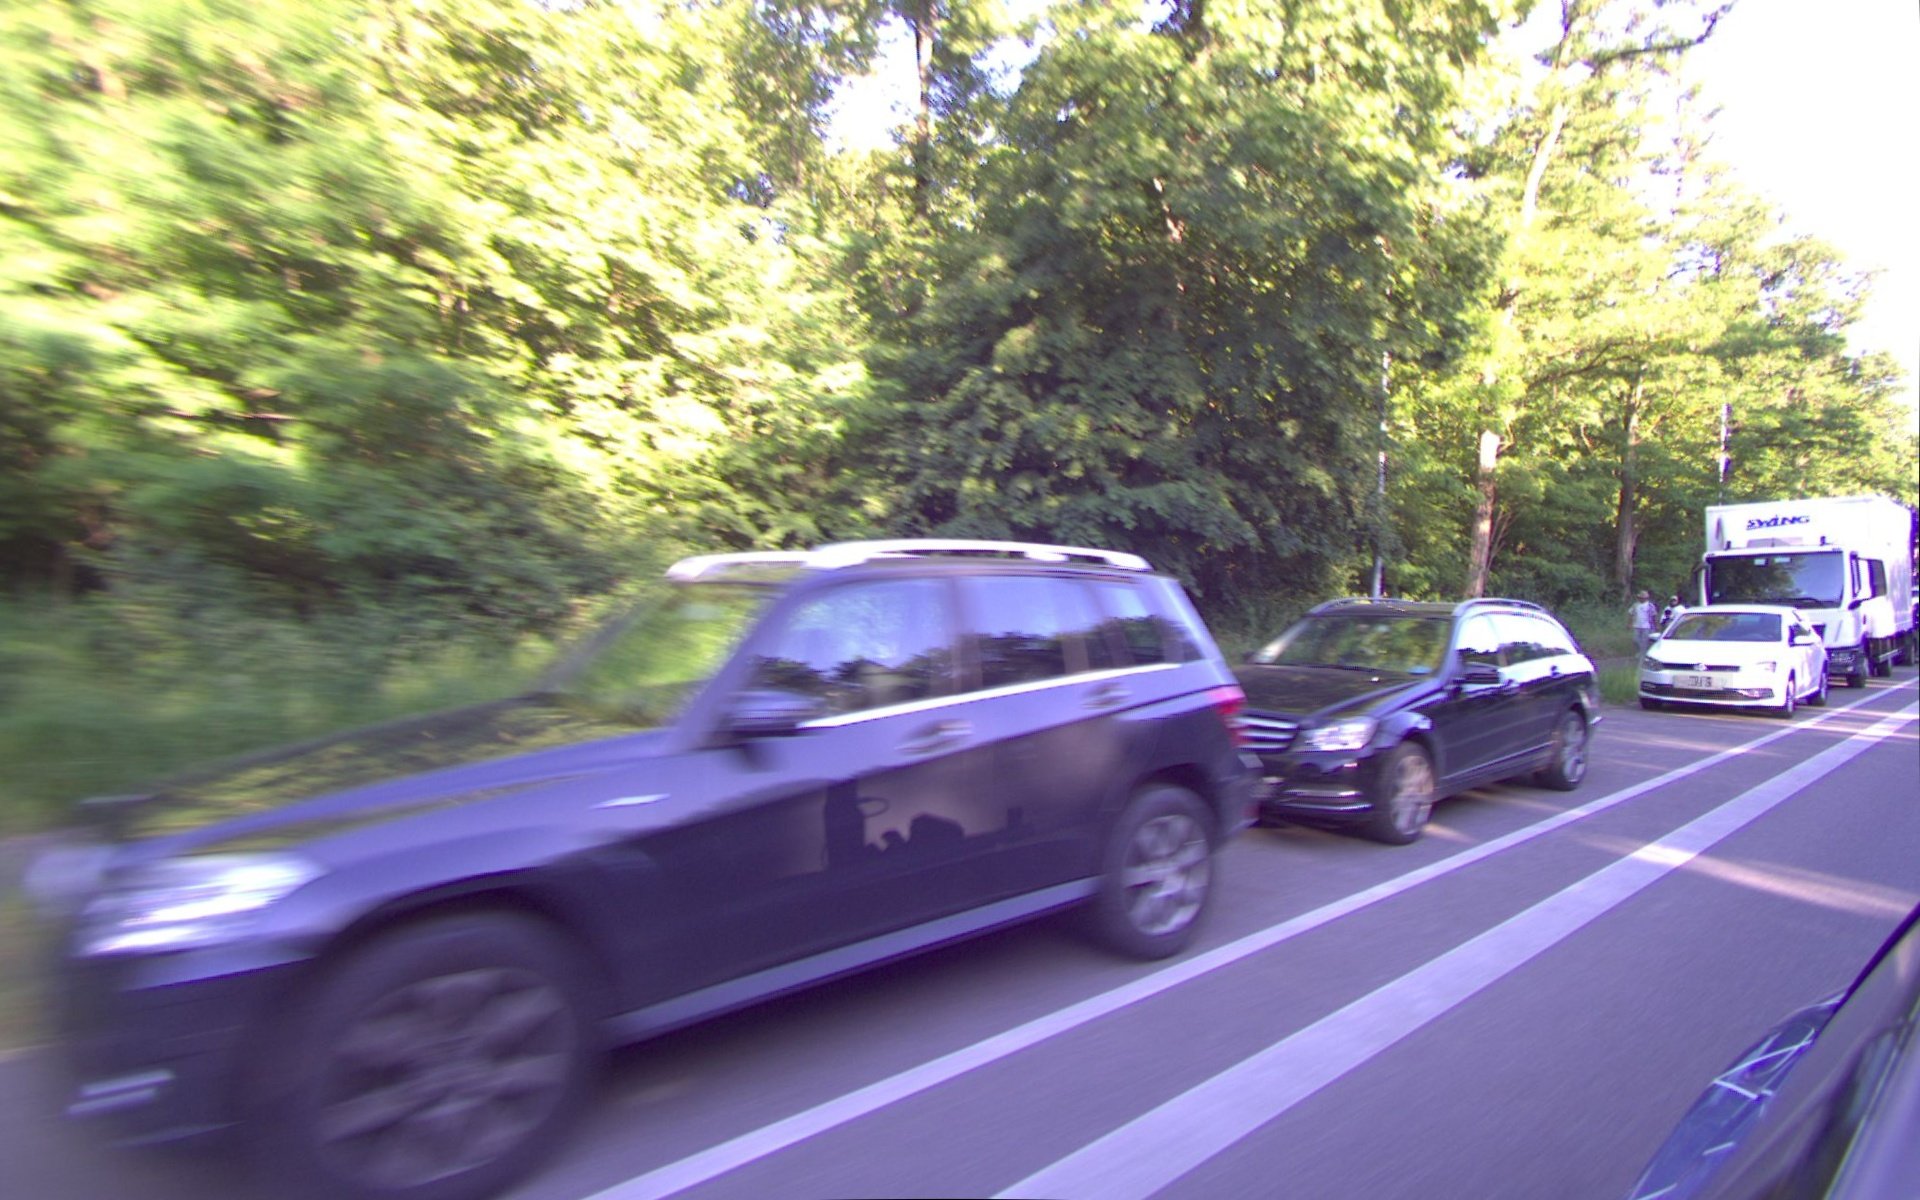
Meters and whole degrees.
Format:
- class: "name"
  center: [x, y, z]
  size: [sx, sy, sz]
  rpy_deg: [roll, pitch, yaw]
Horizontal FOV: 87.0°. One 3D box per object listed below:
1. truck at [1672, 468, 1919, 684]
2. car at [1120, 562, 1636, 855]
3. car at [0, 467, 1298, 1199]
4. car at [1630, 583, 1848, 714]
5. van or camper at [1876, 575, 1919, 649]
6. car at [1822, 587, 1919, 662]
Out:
- class: "truck"
  center: [17.317, -0.456, 20.527]
  size: [8.431, 3.541, 2.837]
  rpy_deg: [0, 2, -42]
- class: "car"
  center: [3.334, 0.584, 7.596]
  size: [4.470, 1.588, 1.715]
  rpy_deg: [0, 0, -40]
- class: "car"
  center: [-0.686, 0.594, 3.918]
  size: [4.470, 1.686, 1.715]
  rpy_deg: [0, 0, -40]
- class: "car"
  center: [11.053, 0.587, 14.273]
  size: [3.930, 1.588, 1.714]
  rpy_deg: [0, 0, -41]
- class: "van or camper"
  center: [28.671, 0.351, 29.830]
  size: [4.506, 2.038, 1.901]
  rpy_deg: [0, 2, -41]
- class: "car"
  center: [23.360, 0.562, 25.336]
  size: [3.953, 1.677, 1.805]
  rpy_deg: [0, 2, -36]
